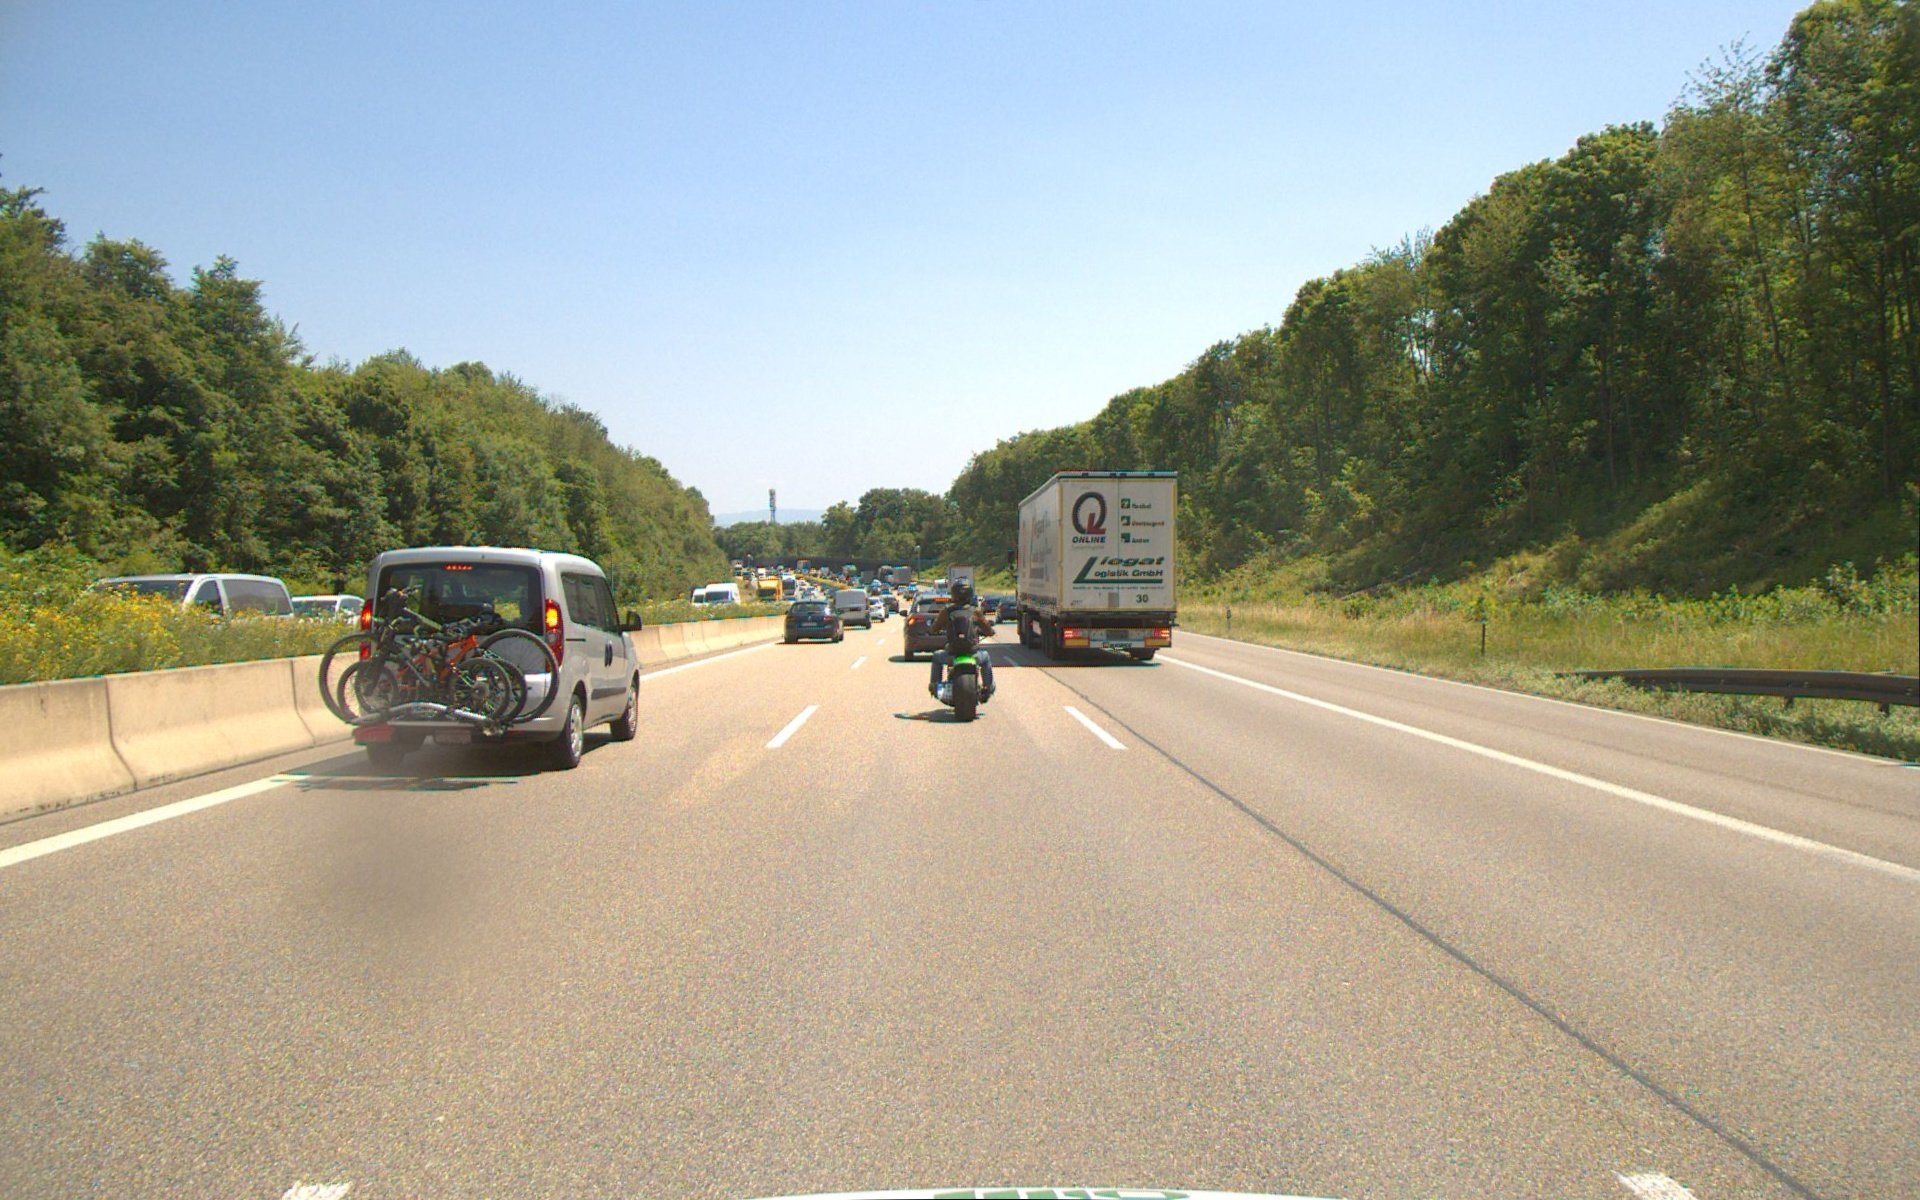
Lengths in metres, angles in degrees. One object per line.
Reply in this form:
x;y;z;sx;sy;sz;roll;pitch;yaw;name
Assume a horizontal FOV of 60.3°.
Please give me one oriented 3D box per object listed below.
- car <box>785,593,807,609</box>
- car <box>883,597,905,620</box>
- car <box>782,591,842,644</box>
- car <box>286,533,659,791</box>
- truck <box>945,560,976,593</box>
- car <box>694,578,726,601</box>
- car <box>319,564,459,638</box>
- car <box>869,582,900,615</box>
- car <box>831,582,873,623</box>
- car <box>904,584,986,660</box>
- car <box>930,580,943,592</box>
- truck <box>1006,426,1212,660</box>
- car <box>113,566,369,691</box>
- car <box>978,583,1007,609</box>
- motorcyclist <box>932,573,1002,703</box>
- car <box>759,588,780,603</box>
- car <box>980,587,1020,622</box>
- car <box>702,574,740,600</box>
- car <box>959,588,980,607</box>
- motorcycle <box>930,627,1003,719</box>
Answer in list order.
-17.888;0.102;180.302;1.872;1.719;4.831;2;0;0;car
-5.570;0.697;140.289;1.794;1.842;4.119;1;2;-2;car
-4.877;0.543;54.930;1.722;1.570;4.394;1;2;-2;car
-4.090;0.436;14.943;1.860;1.880;5.481;1;0;-2;car
0.002;-2.544;175.488;3.005;3.404;9.651;2;1;-1;truck
-20.326;-0.824;134.573;1.872;1.719;4.831;2;0;0;car
-14.515;0.032;42.346;1.872;1.719;4.831;2;0;0;car
-4.552;-0.101;100.519;1.794;1.842;4.119;1;2;-2;car
-5.158;0.098;79.336;1.794;1.842;4.119;1;2;-2;car
-0.386;0.464;38.894;1.808;1.584;4.439;1;2;-2;car
-3.280;-1.922;229.356;1.794;1.585;4.119;1;2;-2;car
3.345;-1.397;43.306;3.315;4.799;17.706;1;1;-1;truck
-11.069;0.419;25.905;1.811;1.719;4.895;2;0;0;car
2.185;-0.283;112.330;1.794;1.585;4.119;1;2;-2;car
0.083;0.446;20.165;0.838;1.541;0.914;0;1;-1;motorcyclist
-22.880;-0.478;198.632;1.872;1.719;4.831;2;0;0;car
1.954;0.223;82.027;1.794;1.585;4.119;1;2;-2;car
-16.493;-0.890;114.523;1.872;1.719;4.831;2;0;0;car
0.871;-0.238;153.251;1.794;1.585;4.119;1;2;-2;car
0.072;0.870;20.312;0.845;0.999;2.130;0;1;0;motorcycle
